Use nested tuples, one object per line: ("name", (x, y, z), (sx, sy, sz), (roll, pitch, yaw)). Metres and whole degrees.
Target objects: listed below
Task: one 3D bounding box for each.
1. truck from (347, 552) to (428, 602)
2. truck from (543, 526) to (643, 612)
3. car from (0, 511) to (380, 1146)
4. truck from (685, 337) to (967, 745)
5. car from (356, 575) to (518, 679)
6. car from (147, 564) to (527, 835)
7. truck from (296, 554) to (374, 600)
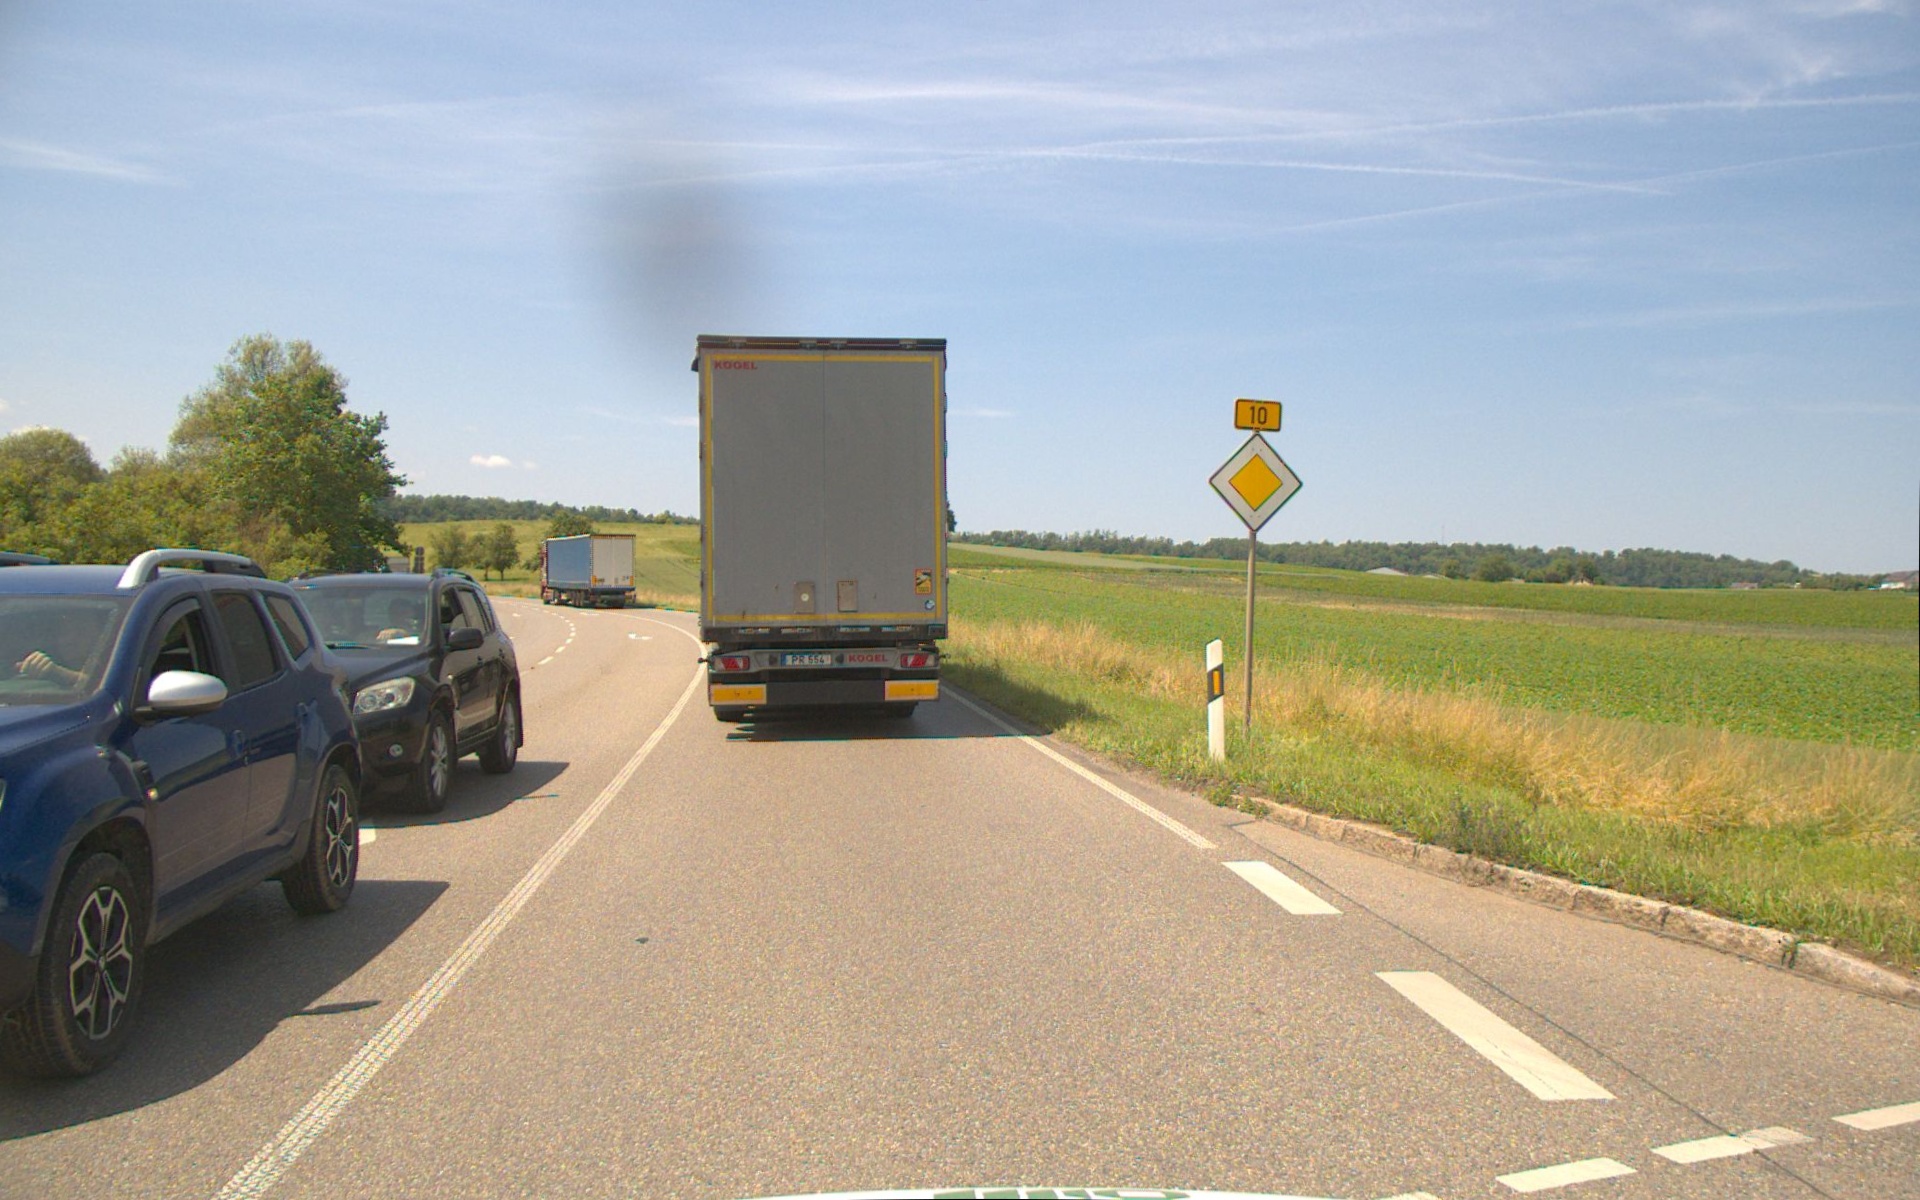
("truck", (-53.191, -2.056, 153.381), (3.608, 4.202, 12.932), (2, -2, -35))
("truck", (-22.066, -1.904, 98.413), (2.921, 4.663, 16.201), (0, 1, -23))
("car", (-3.583, 0.616, 6.173), (1.736, 1.687, 3.995), (0, 0, -5))
("truck", (-2.021, -0.626, 21.220), (2.756, 4.015, 9.571), (-1, 0, -9))
("car", (-9.374, 0.459, 29.968), (1.955, 1.725, 3.996), (-1, 0, -5))
("car", (-4.451, 0.626, 12.460), (1.737, 1.687, 3.994), (0, 0, -6))
("truck", (-62.866, -2.208, 166.103), (3.505, 4.315, 13.221), (2, -2, -38))
